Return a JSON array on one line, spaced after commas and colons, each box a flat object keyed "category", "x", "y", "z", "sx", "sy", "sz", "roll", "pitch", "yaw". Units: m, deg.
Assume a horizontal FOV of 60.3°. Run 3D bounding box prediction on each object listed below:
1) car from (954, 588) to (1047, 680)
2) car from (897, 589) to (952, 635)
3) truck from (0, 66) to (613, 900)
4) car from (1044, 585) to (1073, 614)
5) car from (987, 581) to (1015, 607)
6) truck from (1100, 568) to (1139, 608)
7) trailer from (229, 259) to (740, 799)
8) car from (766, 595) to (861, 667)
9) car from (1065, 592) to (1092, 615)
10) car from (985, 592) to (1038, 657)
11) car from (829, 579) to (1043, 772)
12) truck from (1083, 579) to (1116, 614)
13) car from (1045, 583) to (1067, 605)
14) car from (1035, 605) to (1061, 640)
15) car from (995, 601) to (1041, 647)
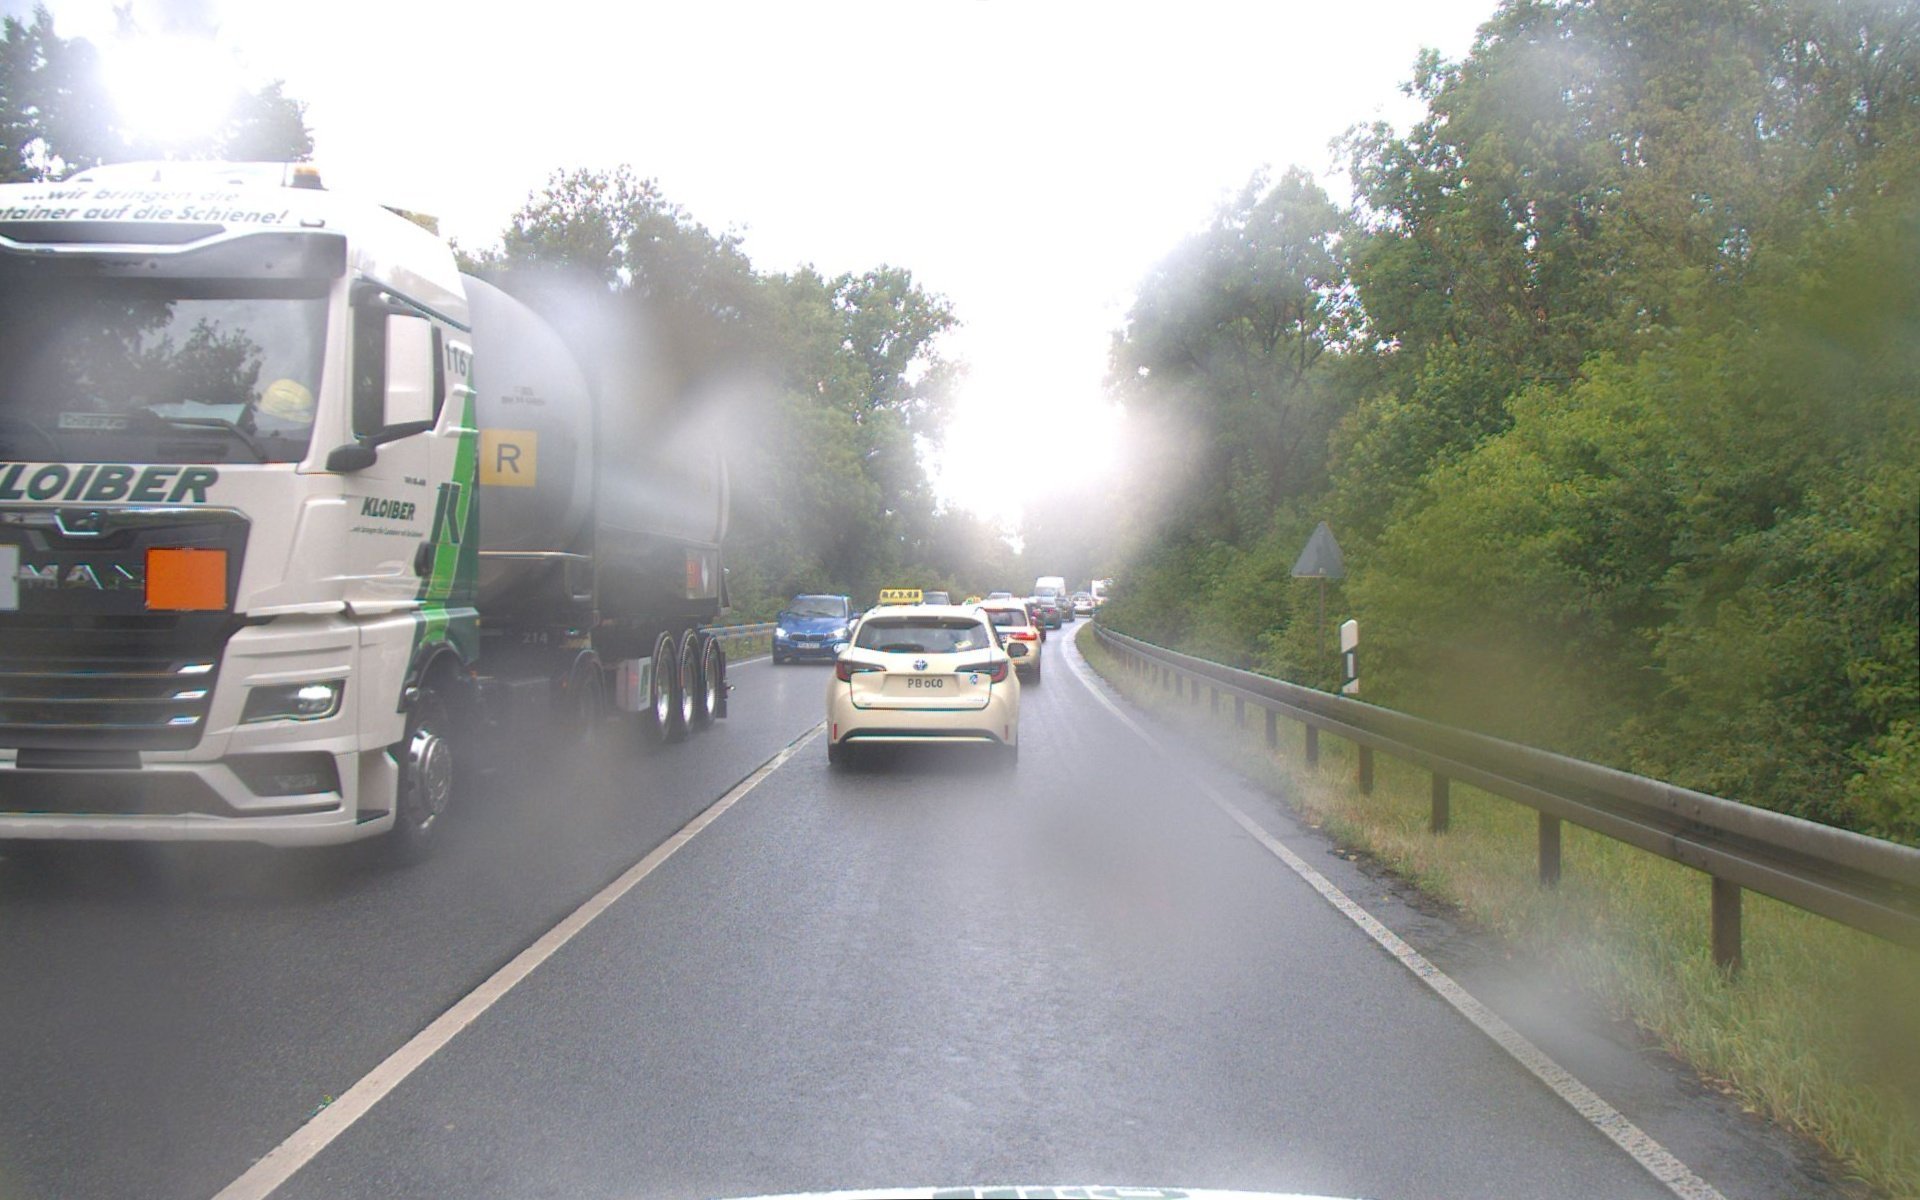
[{"category": "car", "x": 0.779, "y": 0.624, "z": 31.376, "sx": 1.633, "sy": 1.608, "sz": 3.893, "roll": 1, "pitch": -1, "yaw": 2}, {"category": "car", "x": -1.317, "y": 0.434, "z": 63.276, "sx": 1.808, "sy": 1.672, "sz": 4.299, "roll": 1, "pitch": 0, "yaw": 3}, {"category": "truck", "x": -4.060, "y": -0.539, "z": 10.387, "sx": 2.484, "sy": 3.892, "sz": 5.245, "roll": 1, "pitch": -1, "yaw": 1}, {"category": "car", "x": 5.747, "y": -0.009, "z": 96.556, "sx": 1.582, "sy": 1.641, "sz": 3.623, "roll": 1, "pitch": -1, "yaw": 5}, {"category": "car", "x": 2.607, "y": -0.365, "z": 103.938, "sx": 1.656, "sy": 1.583, "sz": 4.443, "roll": 1, "pitch": 0, "yaw": 2}, {"category": "truck", "x": 15.600, "y": -1.151, "z": 161.824, "sx": 3.041, "sy": 3.745, "sz": 7.005, "roll": 1, "pitch": -1, "yaw": 11}, {"category": "trailer", "x": -3.972, "y": -0.482, "z": 15.914, "sx": 2.484, "sy": 3.892, "sz": 7.792, "roll": 1, "pitch": -1, "yaw": 1}, {"category": "car", "x": -3.330, "y": 0.697, "z": 38.263, "sx": 1.672, "sy": 1.542, "sz": 3.914, "roll": 1, "pitch": -1, "yaw": 2}, {"category": "car", "x": 8.360, "y": 0.242, "z": 116.674, "sx": 1.732, "sy": 1.574, "sz": 3.816, "roll": 1, "pitch": -1, "yaw": 6}, {"category": "car", "x": 1.302, "y": 0.618, "z": 42.355, "sx": 1.274, "sy": 1.574, "sz": 3.260, "roll": 1, "pitch": -1, "yaw": 1}, {"category": "car", "x": -0.241, "y": 0.658, "z": 16.098, "sx": 1.796, "sy": 1.608, "sz": 4.155, "roll": 1, "pitch": -1, "yaw": -1}, {"category": "truck", "x": 11.646, "y": -0.237, "z": 138.605, "sx": 2.496, "sy": 2.760, "sz": 7.538, "roll": 1, "pitch": -1, "yaw": 3}, {"category": "car", "x": 9.379, "y": -0.586, "z": 161.359, "sx": 1.951, "sy": 2.049, "sz": 4.002, "roll": 1, "pitch": -1, "yaw": 4}, {"category": "car", "x": 4.117, "y": 1.054, "z": 77.595, "sx": 1.143, "sy": 1.574, "sz": 2.604, "roll": 1, "pitch": -1, "yaw": 2}, {"category": "car", "x": 2.083, "y": 0.847, "z": 59.389, "sx": 1.578, "sy": 1.574, "sz": 3.815, "roll": 0, "pitch": 0, "yaw": 2}]
